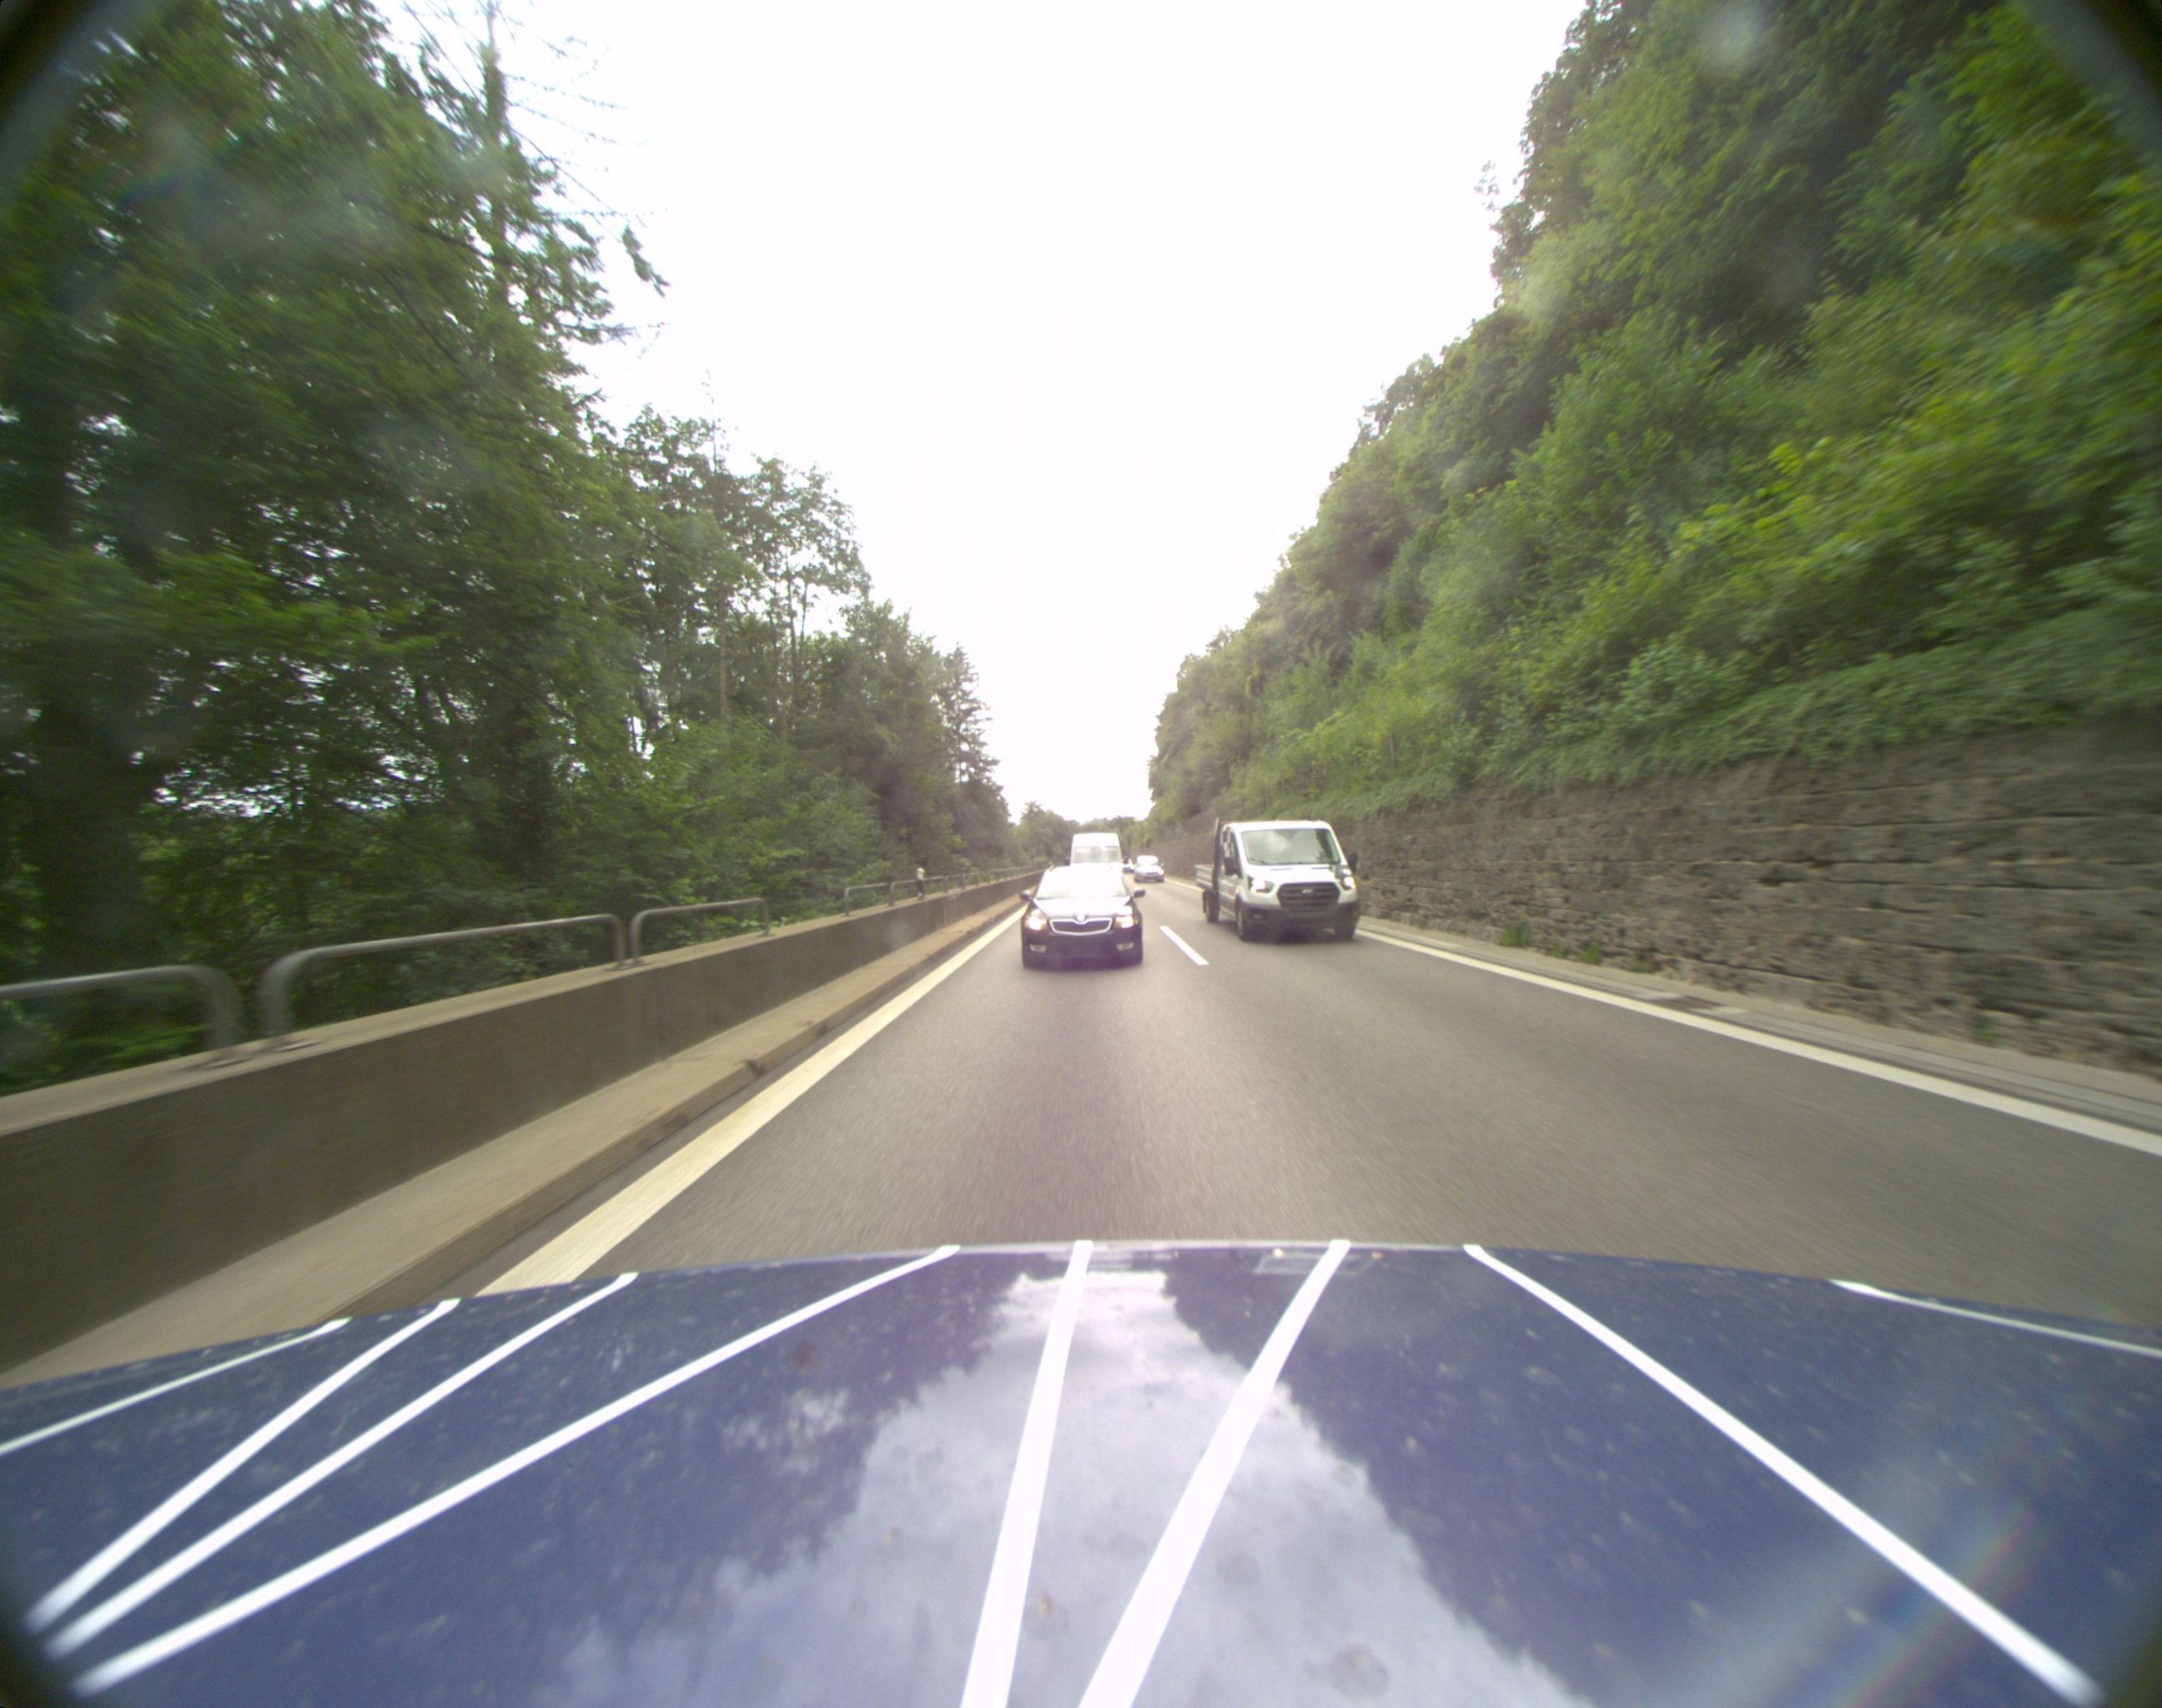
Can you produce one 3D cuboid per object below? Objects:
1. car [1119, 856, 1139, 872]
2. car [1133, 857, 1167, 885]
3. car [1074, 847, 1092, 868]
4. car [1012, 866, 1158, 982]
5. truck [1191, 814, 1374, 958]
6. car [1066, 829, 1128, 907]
[{"bbox_3d":[4.893,0.975,78.093,1.711,1.568,4.602,-2,0,1],"label":"car"},{"bbox_3d":[4.284,1.010,47.612,1.711,1.568,4.602,-2,0,1],"label":"car"},{"bbox_3d":[0.273,0.419,92.771,1.998,2.396,4.000,-2,0,1],"label":"car"},{"bbox_3d":[0.006,0.999,13.141,1.913,1.391,5.696,-3,0,-1],"label":"car"},{"bbox_3d":[3.756,0.531,15.631,1.998,2.266,6.586,-2,0,1],"label":"truck"},{"bbox_3d":[0.687,0.435,27.974,1.998,2.550,5.919,-1,1,3],"label":"car"}]
